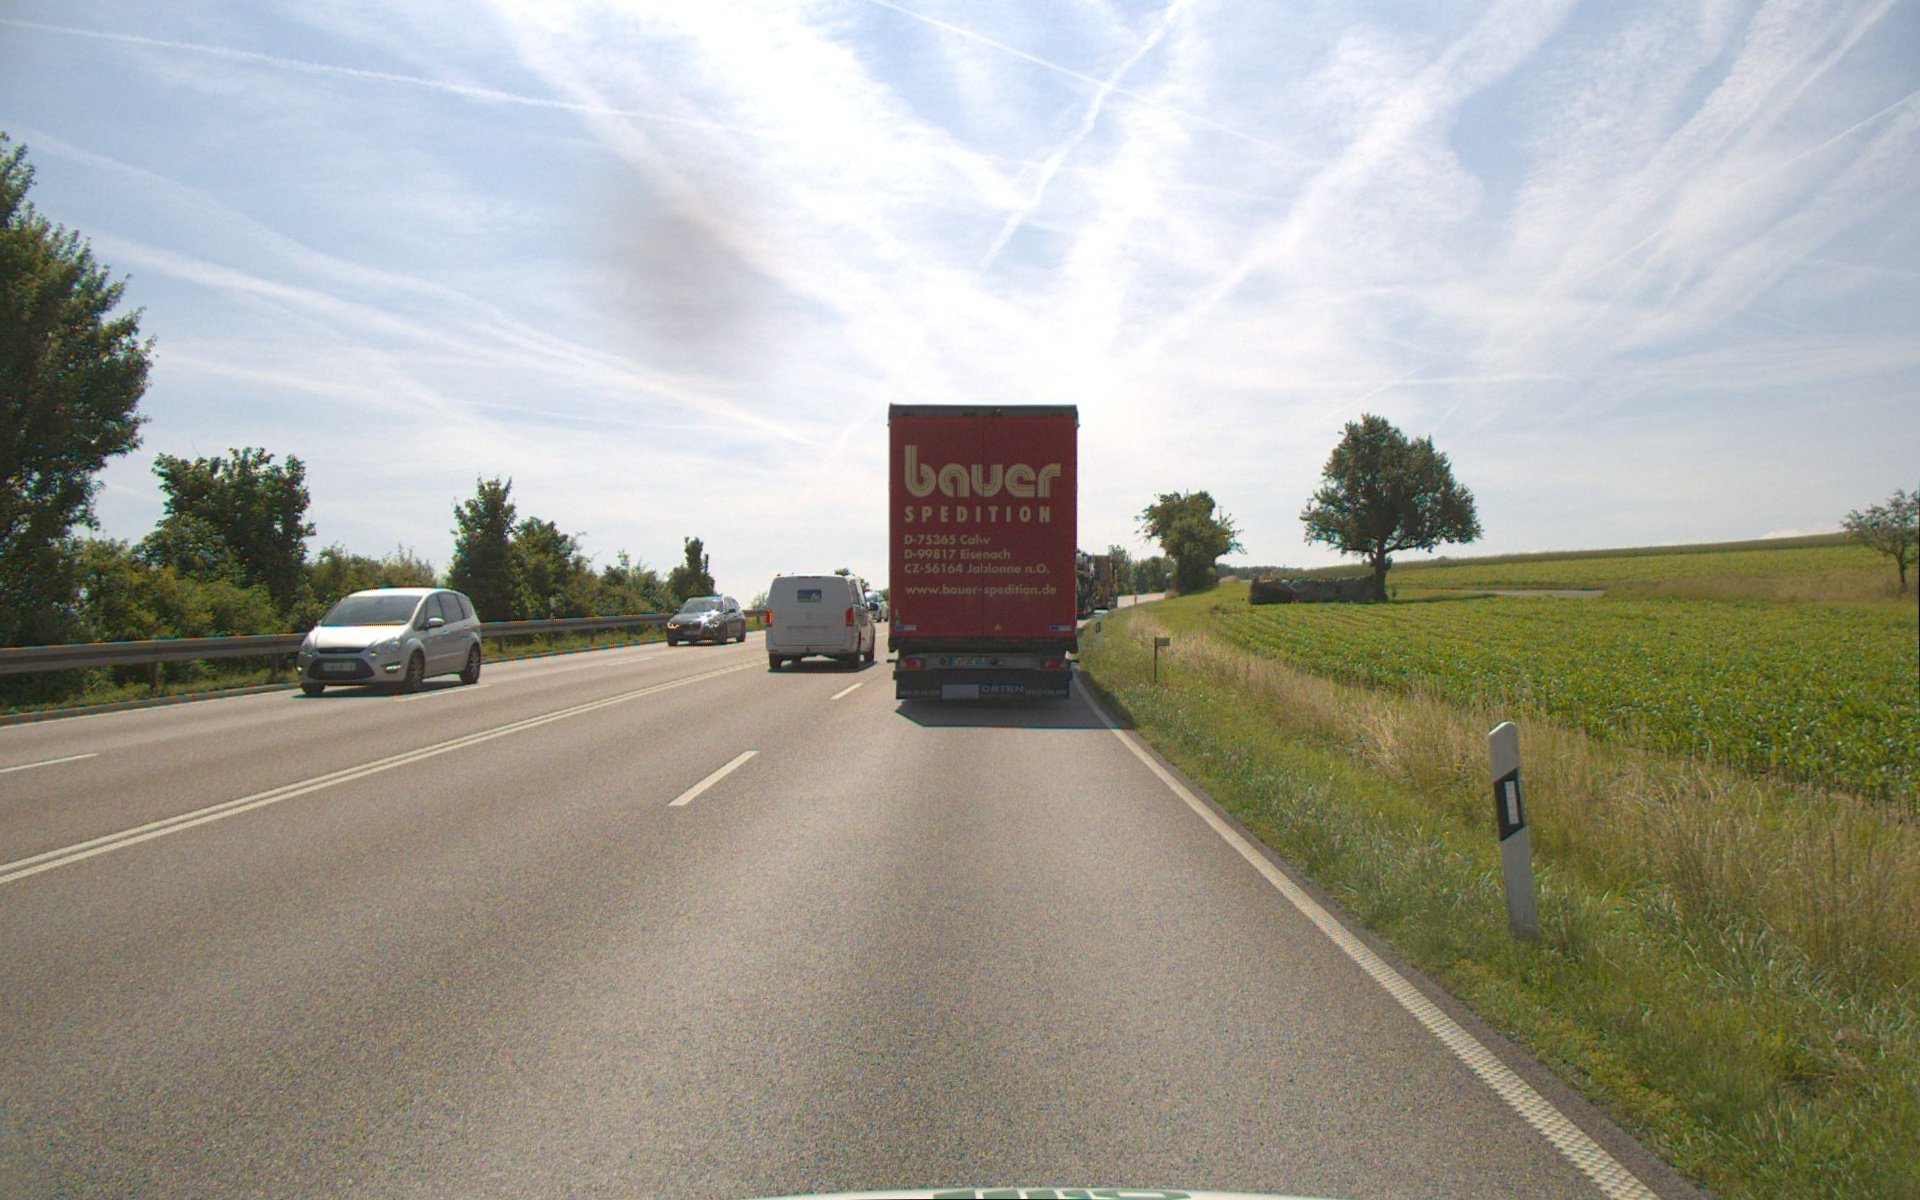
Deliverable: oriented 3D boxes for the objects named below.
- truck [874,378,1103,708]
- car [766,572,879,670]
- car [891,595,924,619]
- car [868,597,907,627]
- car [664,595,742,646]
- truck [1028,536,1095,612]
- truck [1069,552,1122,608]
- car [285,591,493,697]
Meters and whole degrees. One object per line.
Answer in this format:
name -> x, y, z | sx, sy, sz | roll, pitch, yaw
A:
truck -> 0.449, -0.772, 29.780 | 2.945, 4.253, 16.715 | 0, 0, 1
car -> -2.847, 0.413, 35.300 | 1.866, 1.917, 5.432 | 0, 0, 1
car -> -3.458, 0.462, 109.214 | 1.798, 1.481, 4.327 | -1, 0, 2
car -> -3.744, 0.609, 85.853 | 1.622, 1.483, 3.736 | -1, 0, 4
car -> -7.932, 0.591, 51.328 | 1.682, 1.487, 4.216 | -1, 0, 1
truck -> 6.025, -1.421, 95.420 | 2.982, 3.978, 15.627 | -1, 0, 6
truck -> 10.742, -1.496, 129.053 | 2.982, 3.978, 18.413 | -1, 0, 8
car -> -9.371, 0.665, 27.553 | 1.775, 1.596, 4.684 | -1, 0, 1
